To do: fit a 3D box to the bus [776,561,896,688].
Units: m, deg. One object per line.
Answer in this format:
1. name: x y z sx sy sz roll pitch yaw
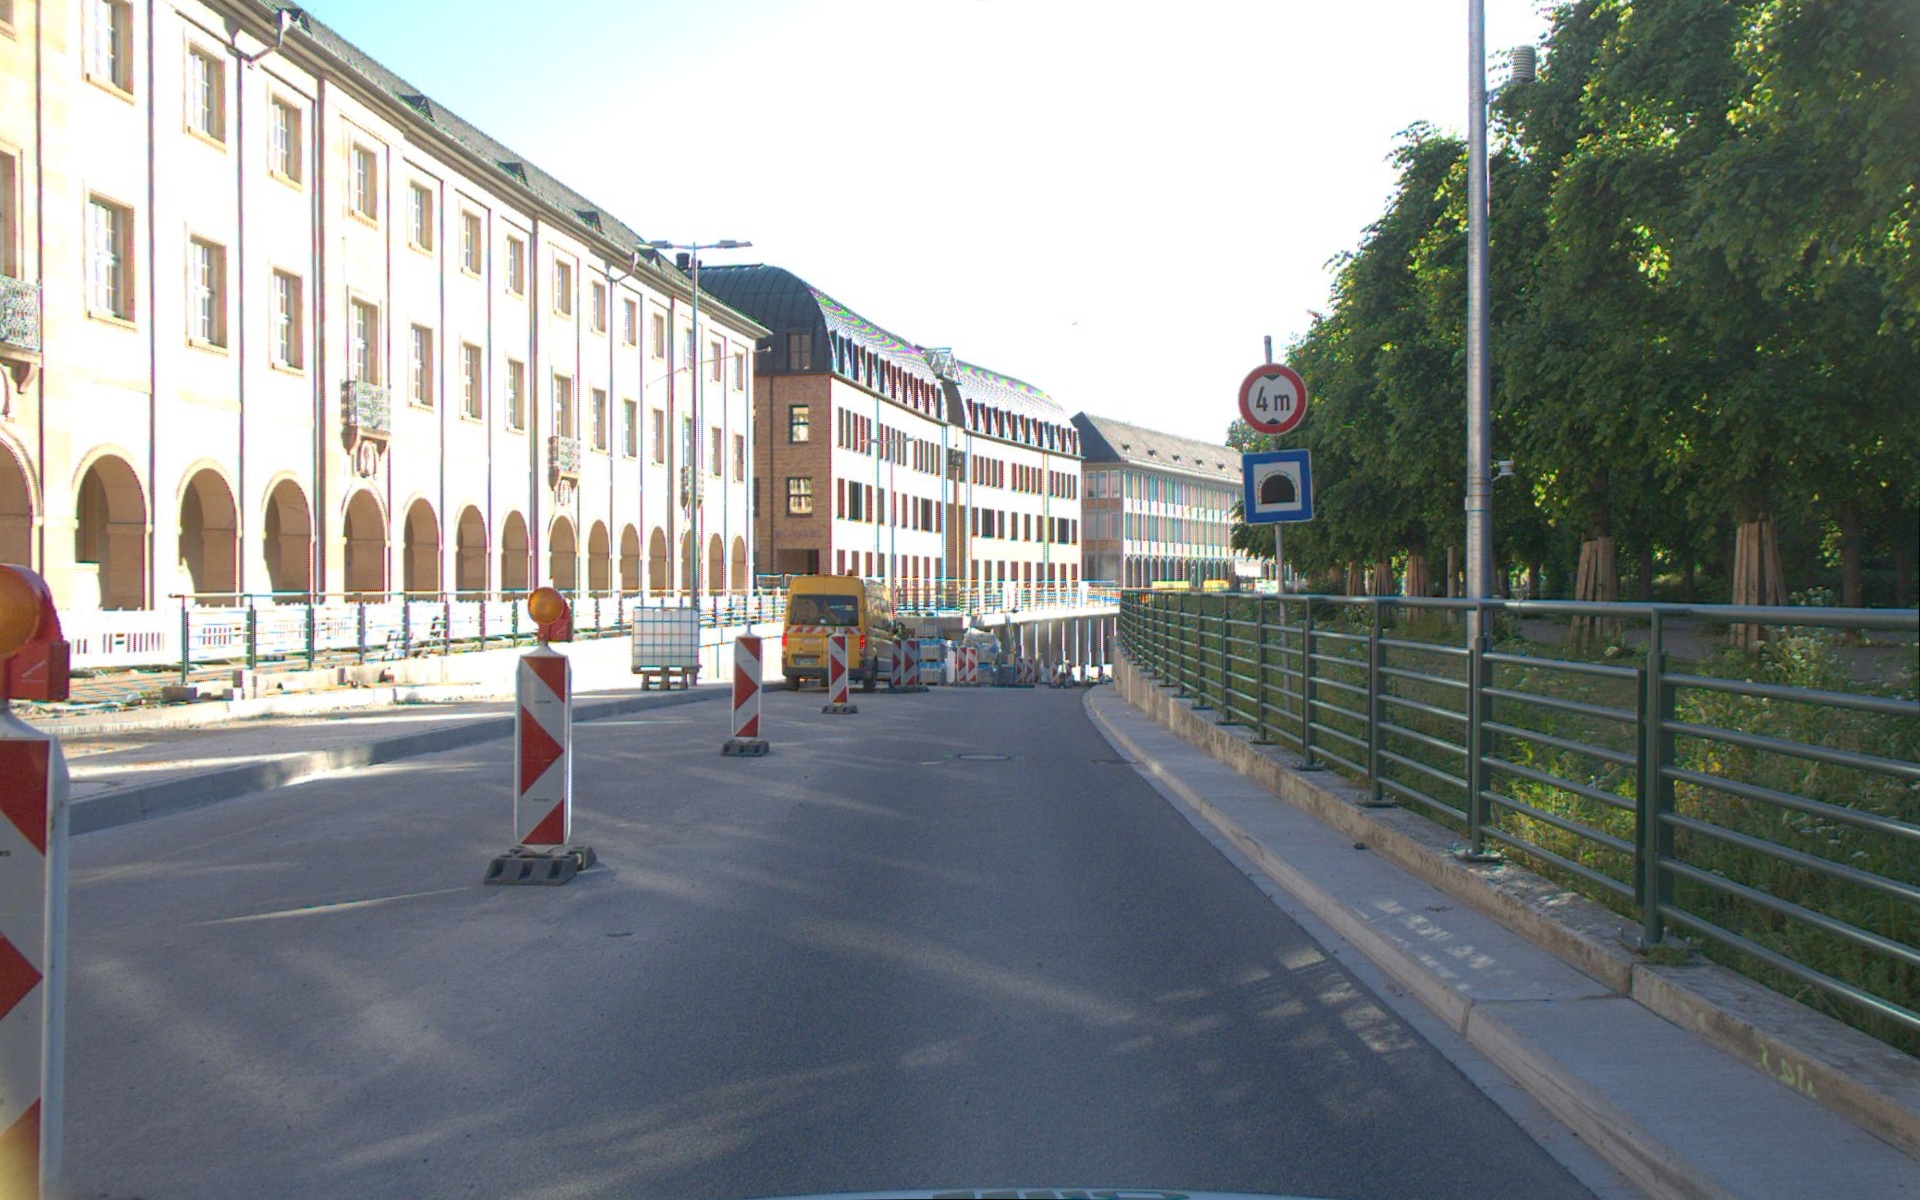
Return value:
1. bus: -2.757 0.590 37.957 2.029 2.734 4.685 0 -2 5
